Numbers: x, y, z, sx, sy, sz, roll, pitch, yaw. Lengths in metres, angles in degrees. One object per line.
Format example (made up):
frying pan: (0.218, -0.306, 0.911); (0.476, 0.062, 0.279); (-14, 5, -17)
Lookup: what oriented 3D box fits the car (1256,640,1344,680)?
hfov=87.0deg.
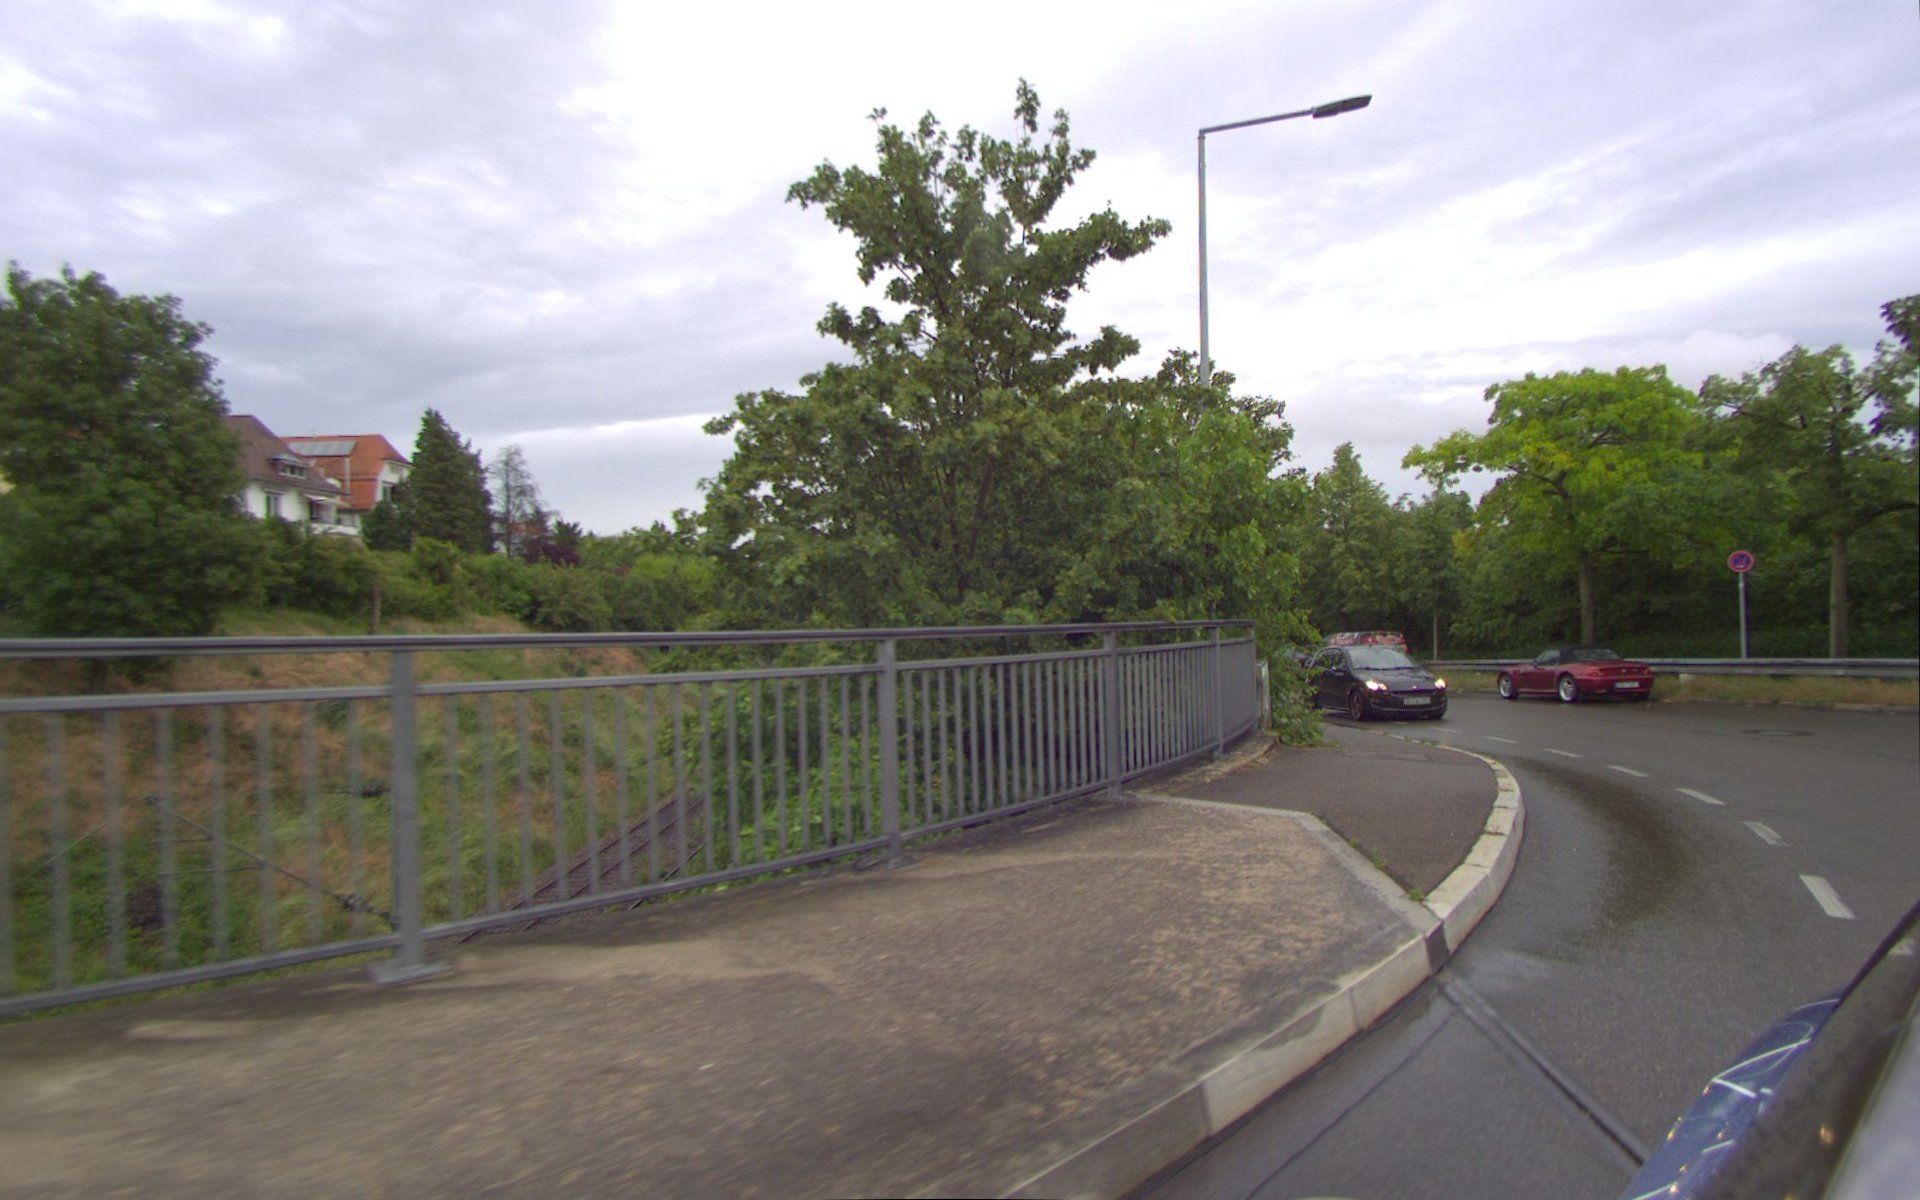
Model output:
car: (13.545, 2.367, 40.554); (1.768, 1.456, 4.257); (-1, -2, -4)

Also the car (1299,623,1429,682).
car: (13.761, 1.786, 34.903); (2.049, 1.843, 5.381); (-1, -2, -3)

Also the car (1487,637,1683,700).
car: (14.348, 1.534, 23.586); (1.761, 1.314, 4.324); (-1, -2, -1)

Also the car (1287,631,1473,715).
car: (8.337, 1.436, 20.564); (1.770, 1.445, 4.382); (3, -3, -2)
